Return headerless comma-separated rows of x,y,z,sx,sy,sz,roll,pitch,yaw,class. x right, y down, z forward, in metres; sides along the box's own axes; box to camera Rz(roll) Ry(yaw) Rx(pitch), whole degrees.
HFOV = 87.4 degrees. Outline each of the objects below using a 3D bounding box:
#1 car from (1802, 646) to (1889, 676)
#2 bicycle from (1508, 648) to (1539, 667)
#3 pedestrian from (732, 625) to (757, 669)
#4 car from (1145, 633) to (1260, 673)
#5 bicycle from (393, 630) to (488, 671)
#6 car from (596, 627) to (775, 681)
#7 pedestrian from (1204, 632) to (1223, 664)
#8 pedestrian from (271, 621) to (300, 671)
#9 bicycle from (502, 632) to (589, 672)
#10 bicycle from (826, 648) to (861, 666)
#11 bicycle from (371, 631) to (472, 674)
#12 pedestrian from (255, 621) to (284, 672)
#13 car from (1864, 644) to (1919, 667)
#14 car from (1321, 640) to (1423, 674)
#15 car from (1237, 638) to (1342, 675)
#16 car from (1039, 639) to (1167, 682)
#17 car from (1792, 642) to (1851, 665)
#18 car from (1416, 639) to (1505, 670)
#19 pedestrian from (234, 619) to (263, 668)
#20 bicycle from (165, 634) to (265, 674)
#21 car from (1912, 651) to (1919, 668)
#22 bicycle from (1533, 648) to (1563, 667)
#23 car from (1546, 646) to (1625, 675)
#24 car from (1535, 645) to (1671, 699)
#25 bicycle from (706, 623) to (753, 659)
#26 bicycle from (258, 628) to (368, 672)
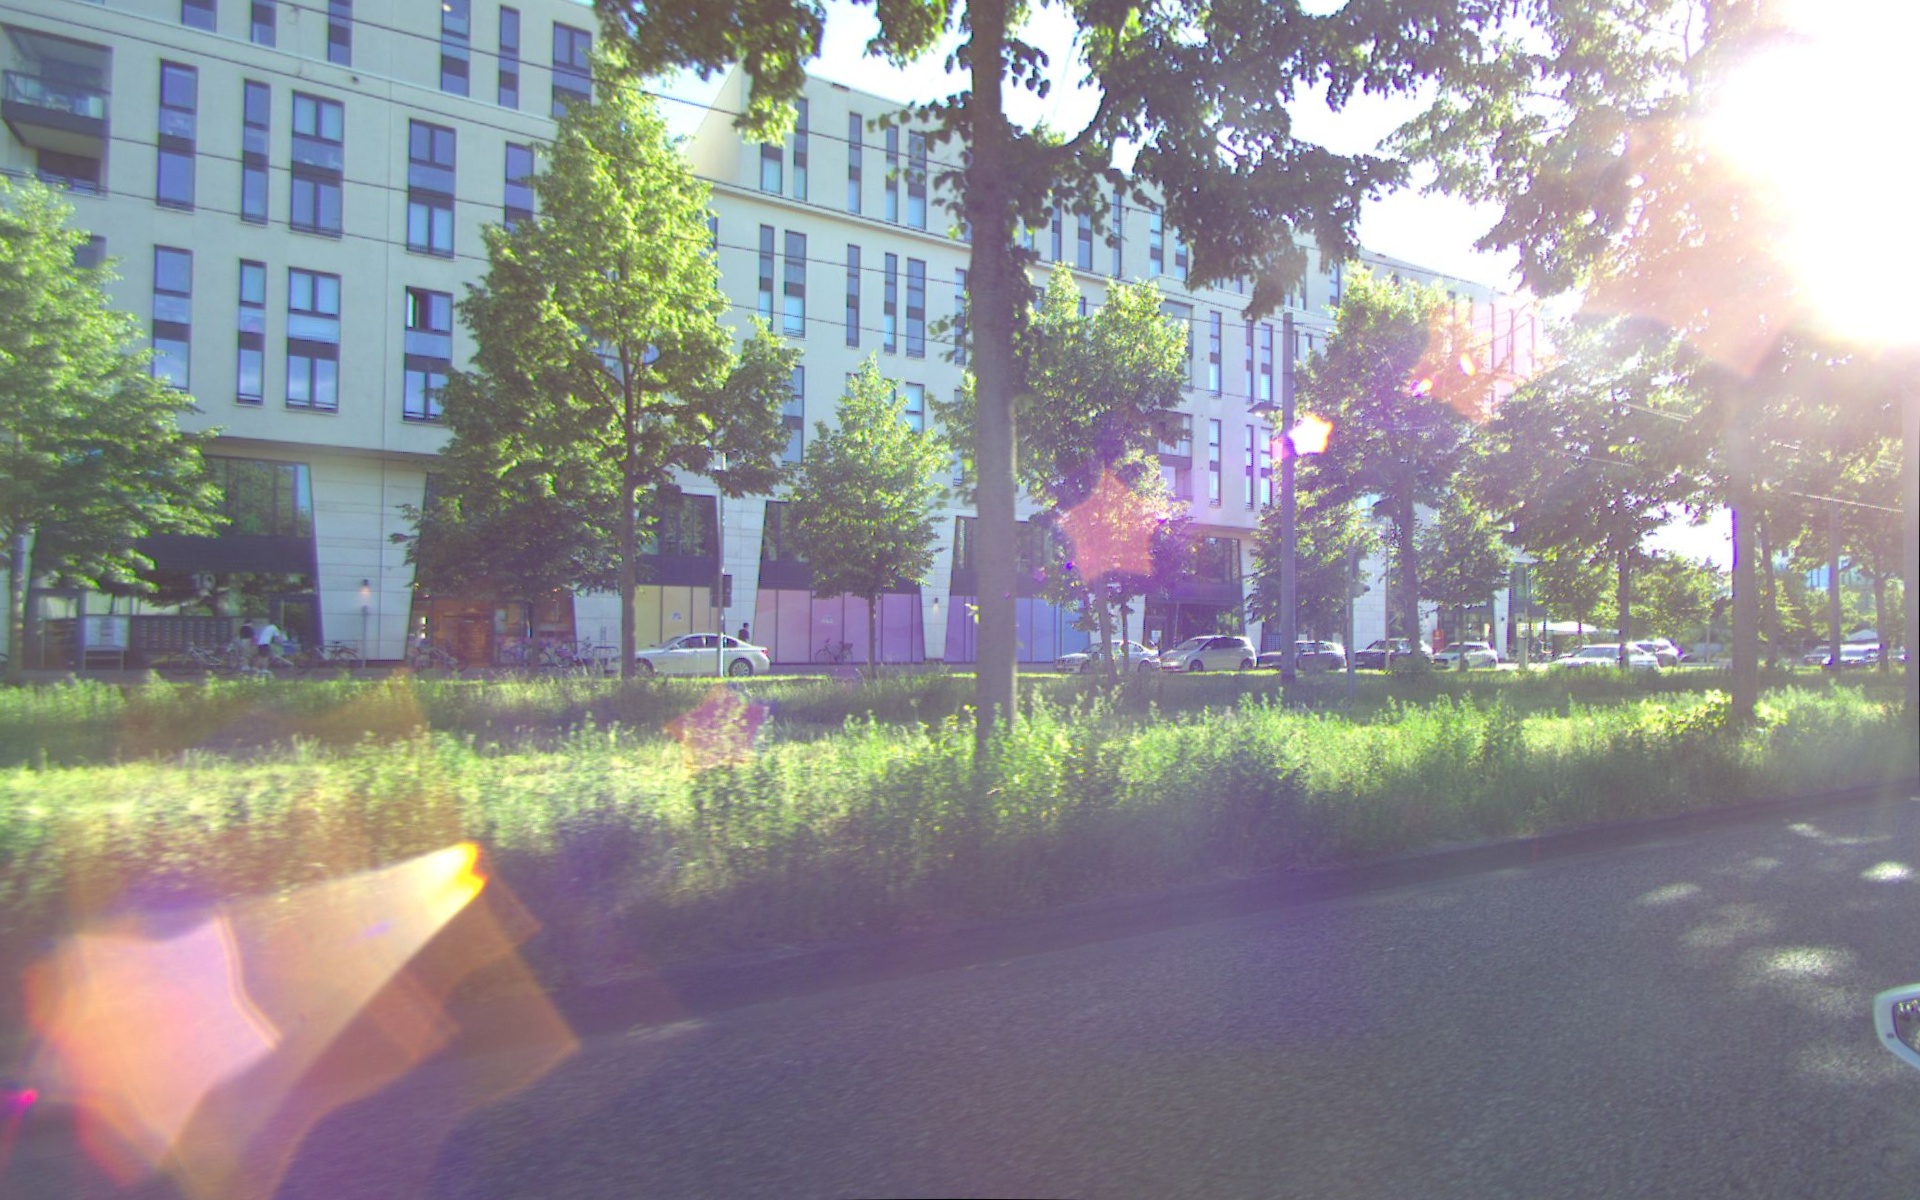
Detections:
47.428,3.288,53.787,4.643,1.460,1.986,2,-1,-27,car
36.598,3.732,65.191,2.215,1.214,0.730,2,-1,-31,bicycle
-8.290,1.809,38.588,0.712,1.673,0.632,2,0,-32,pedestrian
9.926,2.172,41.049,4.404,1.460,1.984,2,-1,-30,car
-17.438,1.692,33.794,2.732,1.297,0.945,2,-1,-23,bicycle
-8.311,1.642,30.552,4.872,1.460,1.982,2,-1,-32,car
13.695,2.577,54.302,0.712,1.673,0.632,2,0,-32,pedestrian
-21.568,1.452,32.116,0.511,1.570,0.503,2,0,12,pedestrian
-14.400,1.804,34.946,2.732,1.297,0.945,2,-1,-23,bicycle
-5.131,2.505,44.276,1.497,0.741,0.276,2,-1,-28,bicycle
-17.420,1.706,32.587,2.732,1.297,0.945,2,-1,-23,bicycle
-21.599,1.442,31.431,0.511,1.570,0.503,2,0,12,pedestrian
73.255,4.393,78.931,4.555,1.642,1.871,2,-1,-29,car
19.297,2.675,46.977,4.883,1.460,1.982,2,-1,-32,car
14.427,2.465,43.926,4.407,1.460,1.982,2,-1,-32,car
5.552,2.329,38.749,4.727,1.460,1.982,2,-1,-32,car
61.575,3.828,71.763,4.558,1.453,1.870,2,-1,-31,car
25.127,2.738,50.420,4.407,1.460,1.982,2,-1,-32,car
-23.221,1.402,32.772,0.511,1.570,0.503,2,0,12,pedestrian
-22.508,1.631,30.380,2.357,1.152,0.859,3,-1,-40,bicycle
81.457,5.020,83.592,4.555,1.343,1.904,2,-1,-29,car
38.942,3.831,66.518,2.215,1.214,0.730,2,-1,-31,bicycle
34.605,3.344,55.556,4.215,1.460,1.949,2,-1,-30,car
22.853,2.536,35.653,5.051,1.708,1.984,2,-1,-30,car
-8.763,1.560,38.206,1.590,1.297,0.594,2,-1,-32,bicycle
-20.336,1.592,31.663,2.732,1.297,0.945,2,-1,-23,bicycle
